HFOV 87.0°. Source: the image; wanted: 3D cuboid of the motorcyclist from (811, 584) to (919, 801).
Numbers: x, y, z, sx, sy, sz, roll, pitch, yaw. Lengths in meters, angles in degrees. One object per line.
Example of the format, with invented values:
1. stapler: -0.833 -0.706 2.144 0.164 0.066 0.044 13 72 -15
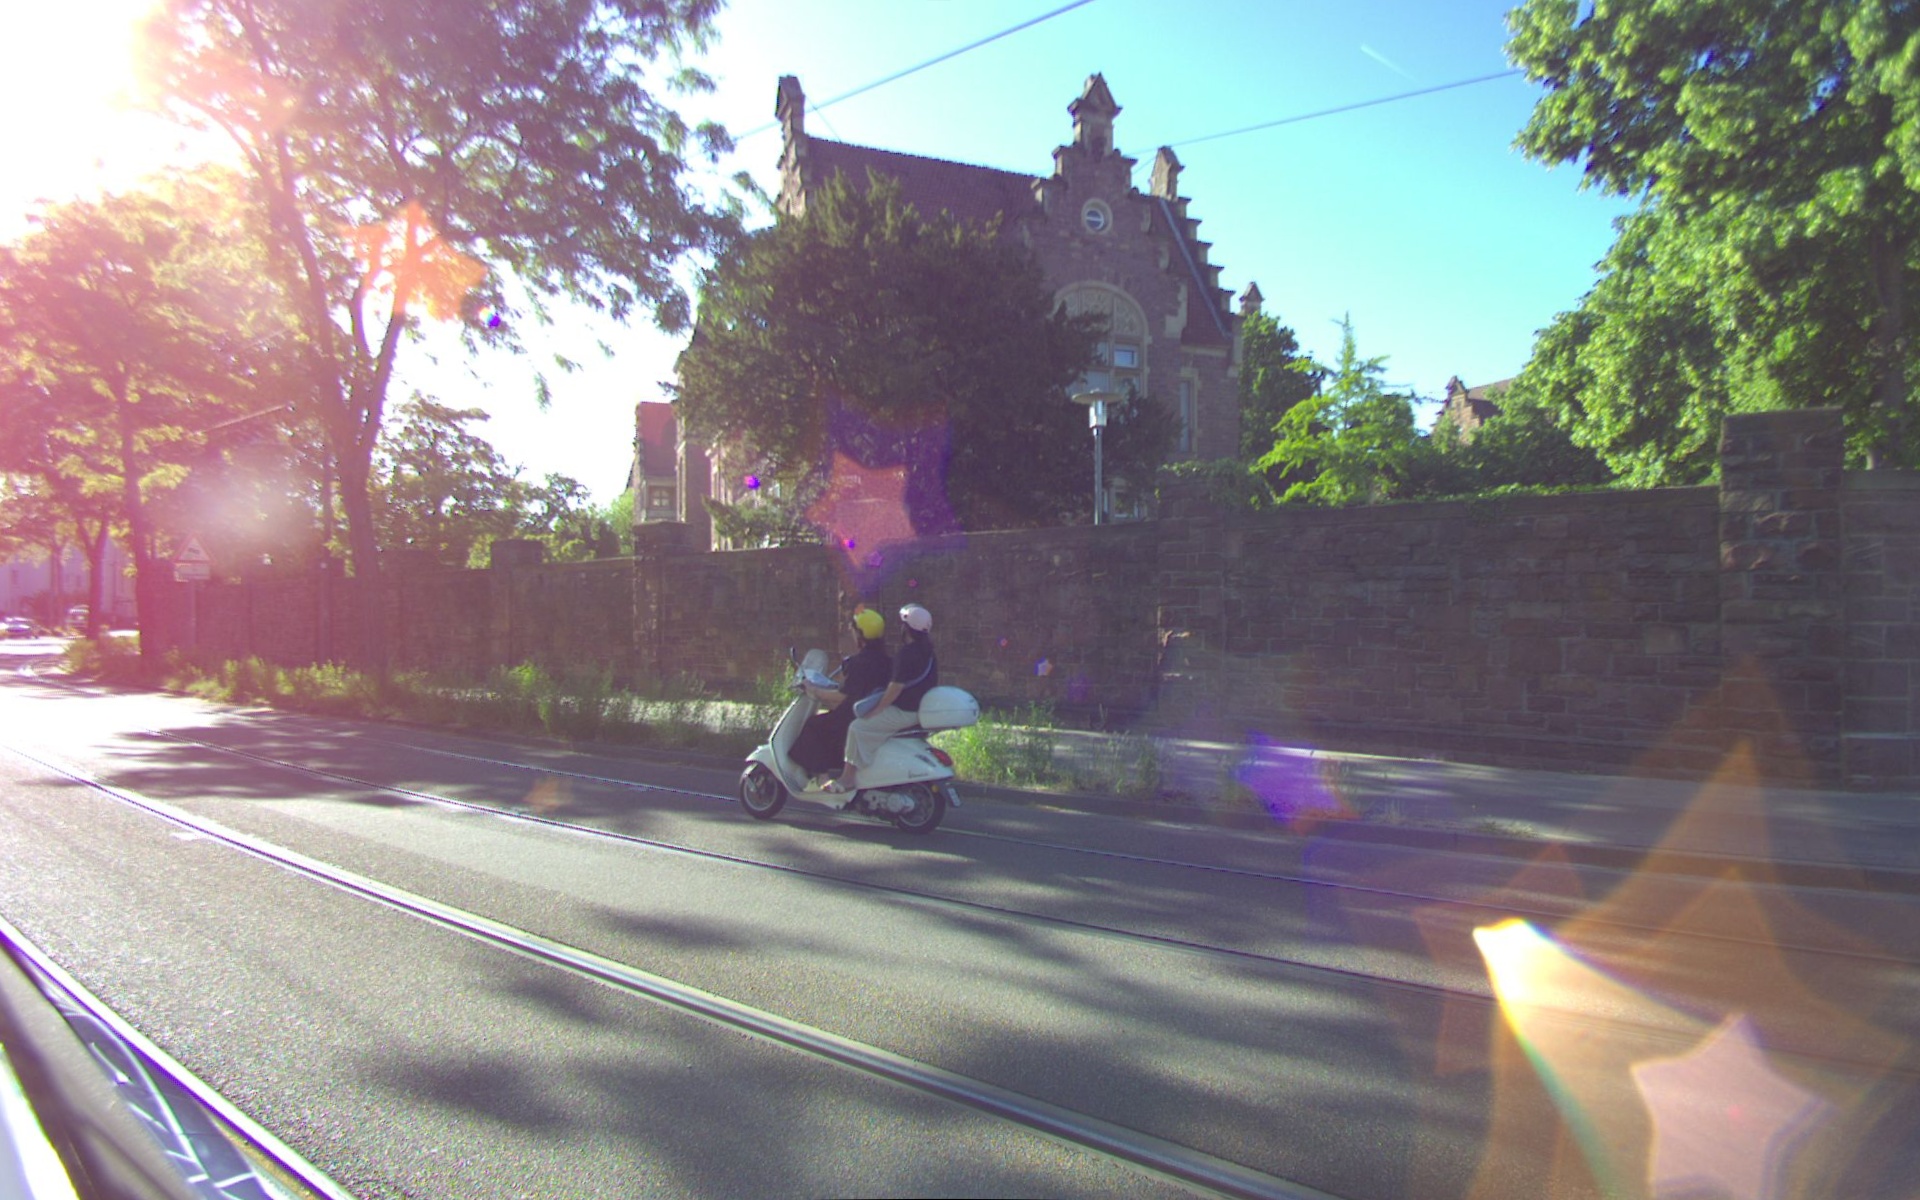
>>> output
1. motorcyclist: -0.668 0.627 7.204 0.445 1.451 0.679 -1 -1 31

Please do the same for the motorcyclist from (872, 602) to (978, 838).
1. motorcyclist: -0.233 0.780 6.930 0.464 1.527 0.602 -1 -1 32

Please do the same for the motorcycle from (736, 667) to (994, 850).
1. motorcycle: -0.708 1.063 7.227 1.850 1.101 0.604 -1 -1 32
